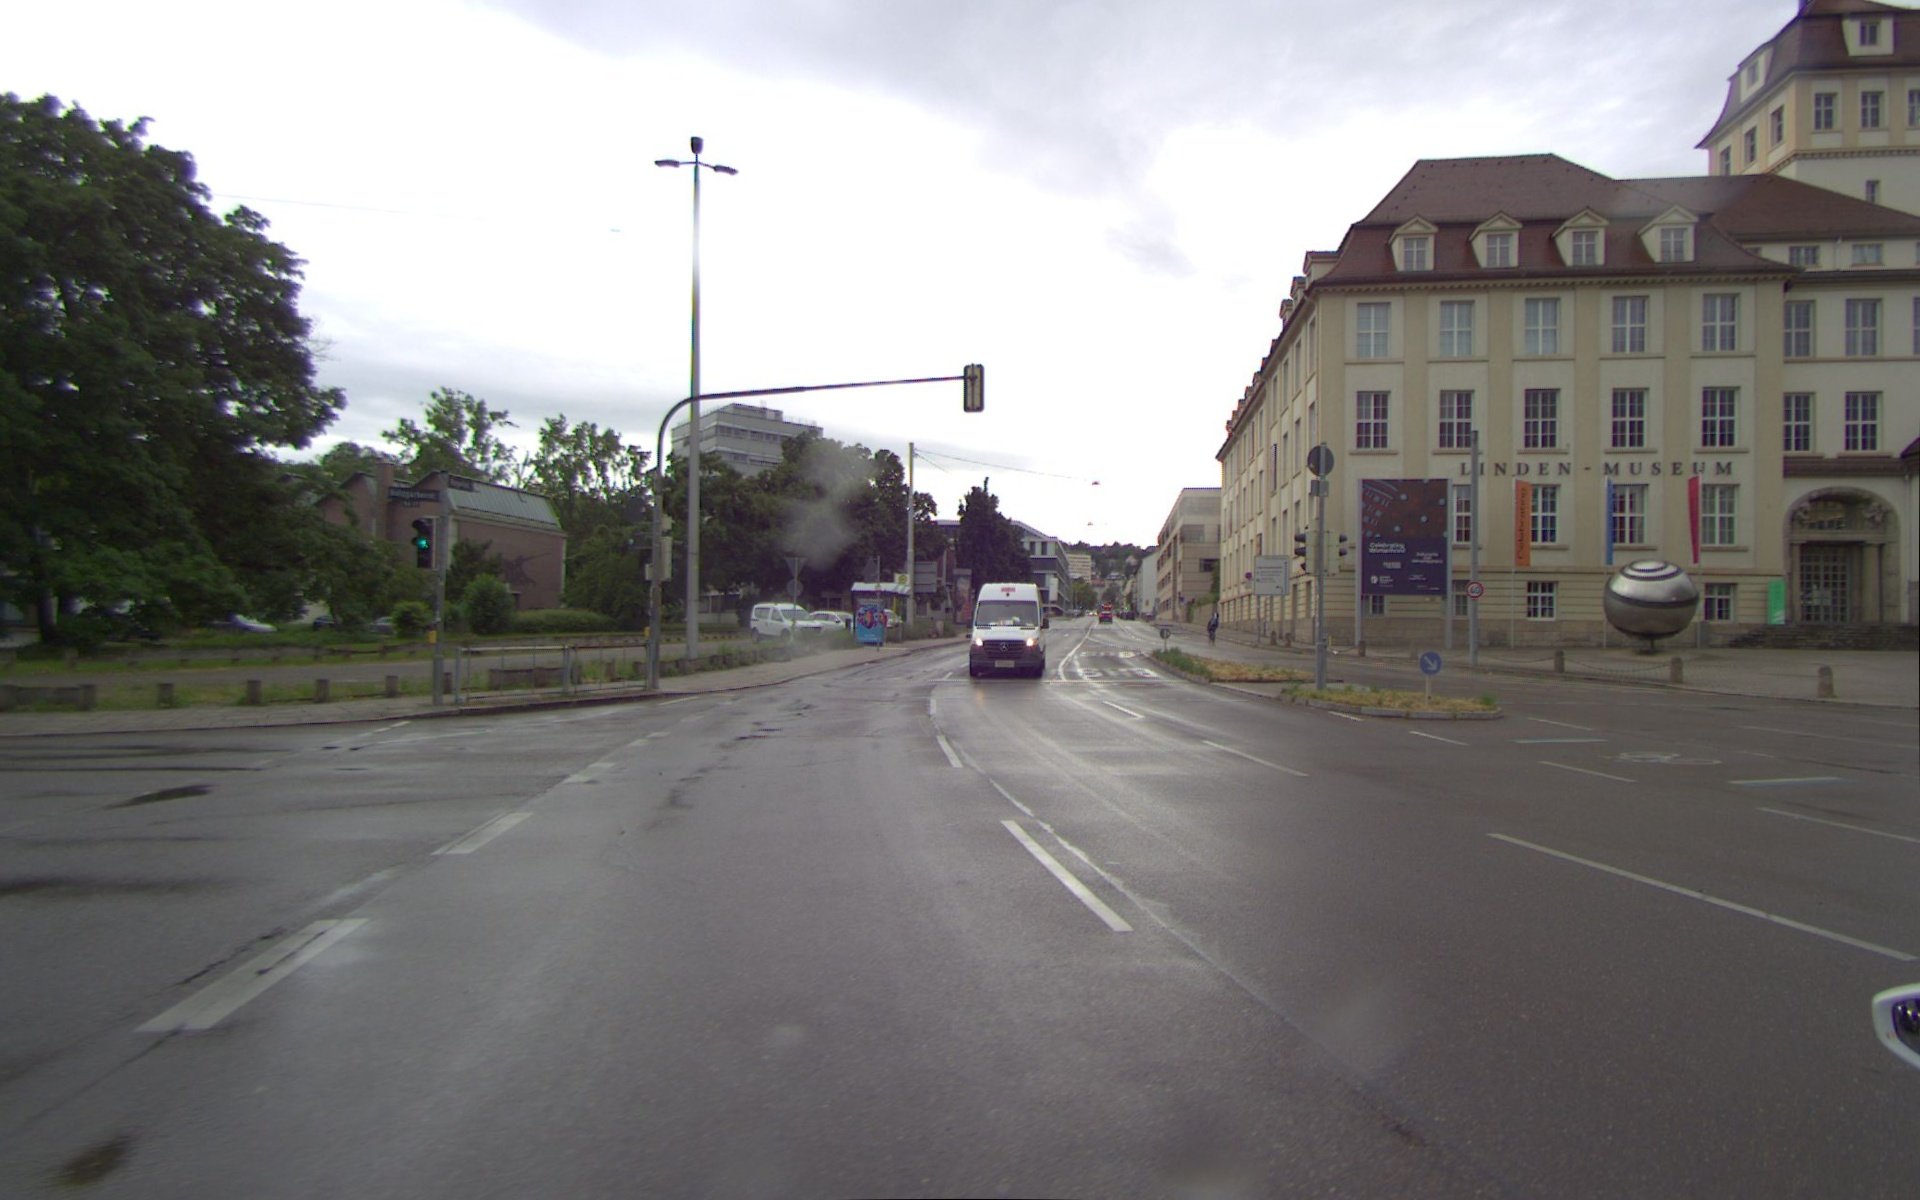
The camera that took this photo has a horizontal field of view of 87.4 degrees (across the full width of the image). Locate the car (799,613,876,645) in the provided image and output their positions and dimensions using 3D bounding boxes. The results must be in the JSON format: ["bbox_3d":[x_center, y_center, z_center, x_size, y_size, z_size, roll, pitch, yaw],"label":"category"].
[{"bbox_3d":[-6.345,1.470,51.774,3.942,1.434,1.824,2,0,42],"label":"car"}]

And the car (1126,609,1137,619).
[{"bbox_3d":[30.877,2.524,180.945,1.807,1.581,4.002,2,1,9],"label":"car"}]

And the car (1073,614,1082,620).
[{"bbox_3d":[26.530,3.784,226.907,1.807,1.252,3.417,2,1,12],"label":"car"}]

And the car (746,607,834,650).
[{"bbox_3d":[-7.512,1.244,44.066,1.819,1.791,4.454,2,-2,-40],"label":"car"}]

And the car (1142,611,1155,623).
[{"bbox_3d":[30.026,2.710,160.250,1.807,1.581,4.002,2,1,9],"label":"car"}]

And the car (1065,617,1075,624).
[{"bbox_3d":[23.016,4.266,210.459,1.807,1.252,3.417,2,1,12],"label":"car"}]

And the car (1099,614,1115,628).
[{"bbox_3d":[19.071,2.706,130.113,1.860,1.647,3.648,2,1,9],"label":"car"}]

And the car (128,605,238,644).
[{"bbox_3d":[-45.761,1.411,59.205,4.975,2.049,2.290,2,0,9],"label":"car"}]

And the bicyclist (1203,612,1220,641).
[{"bbox_3d":[14.808,1.542,59.069,0.688,1.654,1.129,2,0,1],"label":"bicyclist"}]

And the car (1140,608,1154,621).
[{"bbox_3d":[26.311,2.005,141.087,1.807,1.581,4.002,2,1,12],"label":"car"}]

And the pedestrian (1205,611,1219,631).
[{"bbox_3d":[23.616,1.948,94.212,1.218,1.812,1.596,-1,-1,11],"label":"pedestrian"}]

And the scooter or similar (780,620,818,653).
[{"bbox_3d":[-5.853,1.336,36.619,1.245,1.182,0.545,2,0,-44],"label":"scooter or similar"}]

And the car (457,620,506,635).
[{"bbox_3d":[-41.395,2.352,86.971,3.484,1.158,1.593,2,0,9],"label":"car"}]

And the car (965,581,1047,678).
[{"bbox_3d":[1.465,0.838,29.311,2.023,2.527,6.042,0,-1,6],"label":"car"}]

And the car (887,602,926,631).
[{"bbox_3d":[-3.483,1.102,64.498,1.822,1.765,4.066,1,-2,-13],"label":"car"}]

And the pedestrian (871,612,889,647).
[{"bbox_3d":[-3.688,1.365,46.336,0.605,1.616,0.505,2,0,-28],"label":"pedestrian"}]

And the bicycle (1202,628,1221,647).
[{"bbox_3d":[14.760,2.202,59.005,0.635,1.070,1.821,1,-1,0],"label":"bicycle"}]

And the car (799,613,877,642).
[{"bbox_3d":[-6.351,1.407,51.866,4.017,1.461,1.844,-1,-2,43],"label":"car"}]

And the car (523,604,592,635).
[{"bbox_3d":[-40.189,1.876,100.539,3.525,2.855,6.469,2,0,9],"label":"car"}]

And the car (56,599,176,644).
[{"bbox_3d":[-46.091,1.139,54.894,4.975,2.207,2.290,2,0,9],"label":"car"}]

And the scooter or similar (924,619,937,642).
[{"bbox_3d":[-1.695,1.737,57.860,0.450,1.283,0.977,2,0,13],"label":"scooter or similar"}]

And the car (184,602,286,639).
[{"bbox_3d":[-45.169,1.247,62.608,4.975,2.102,2.290,2,0,10],"label":"car"}]
